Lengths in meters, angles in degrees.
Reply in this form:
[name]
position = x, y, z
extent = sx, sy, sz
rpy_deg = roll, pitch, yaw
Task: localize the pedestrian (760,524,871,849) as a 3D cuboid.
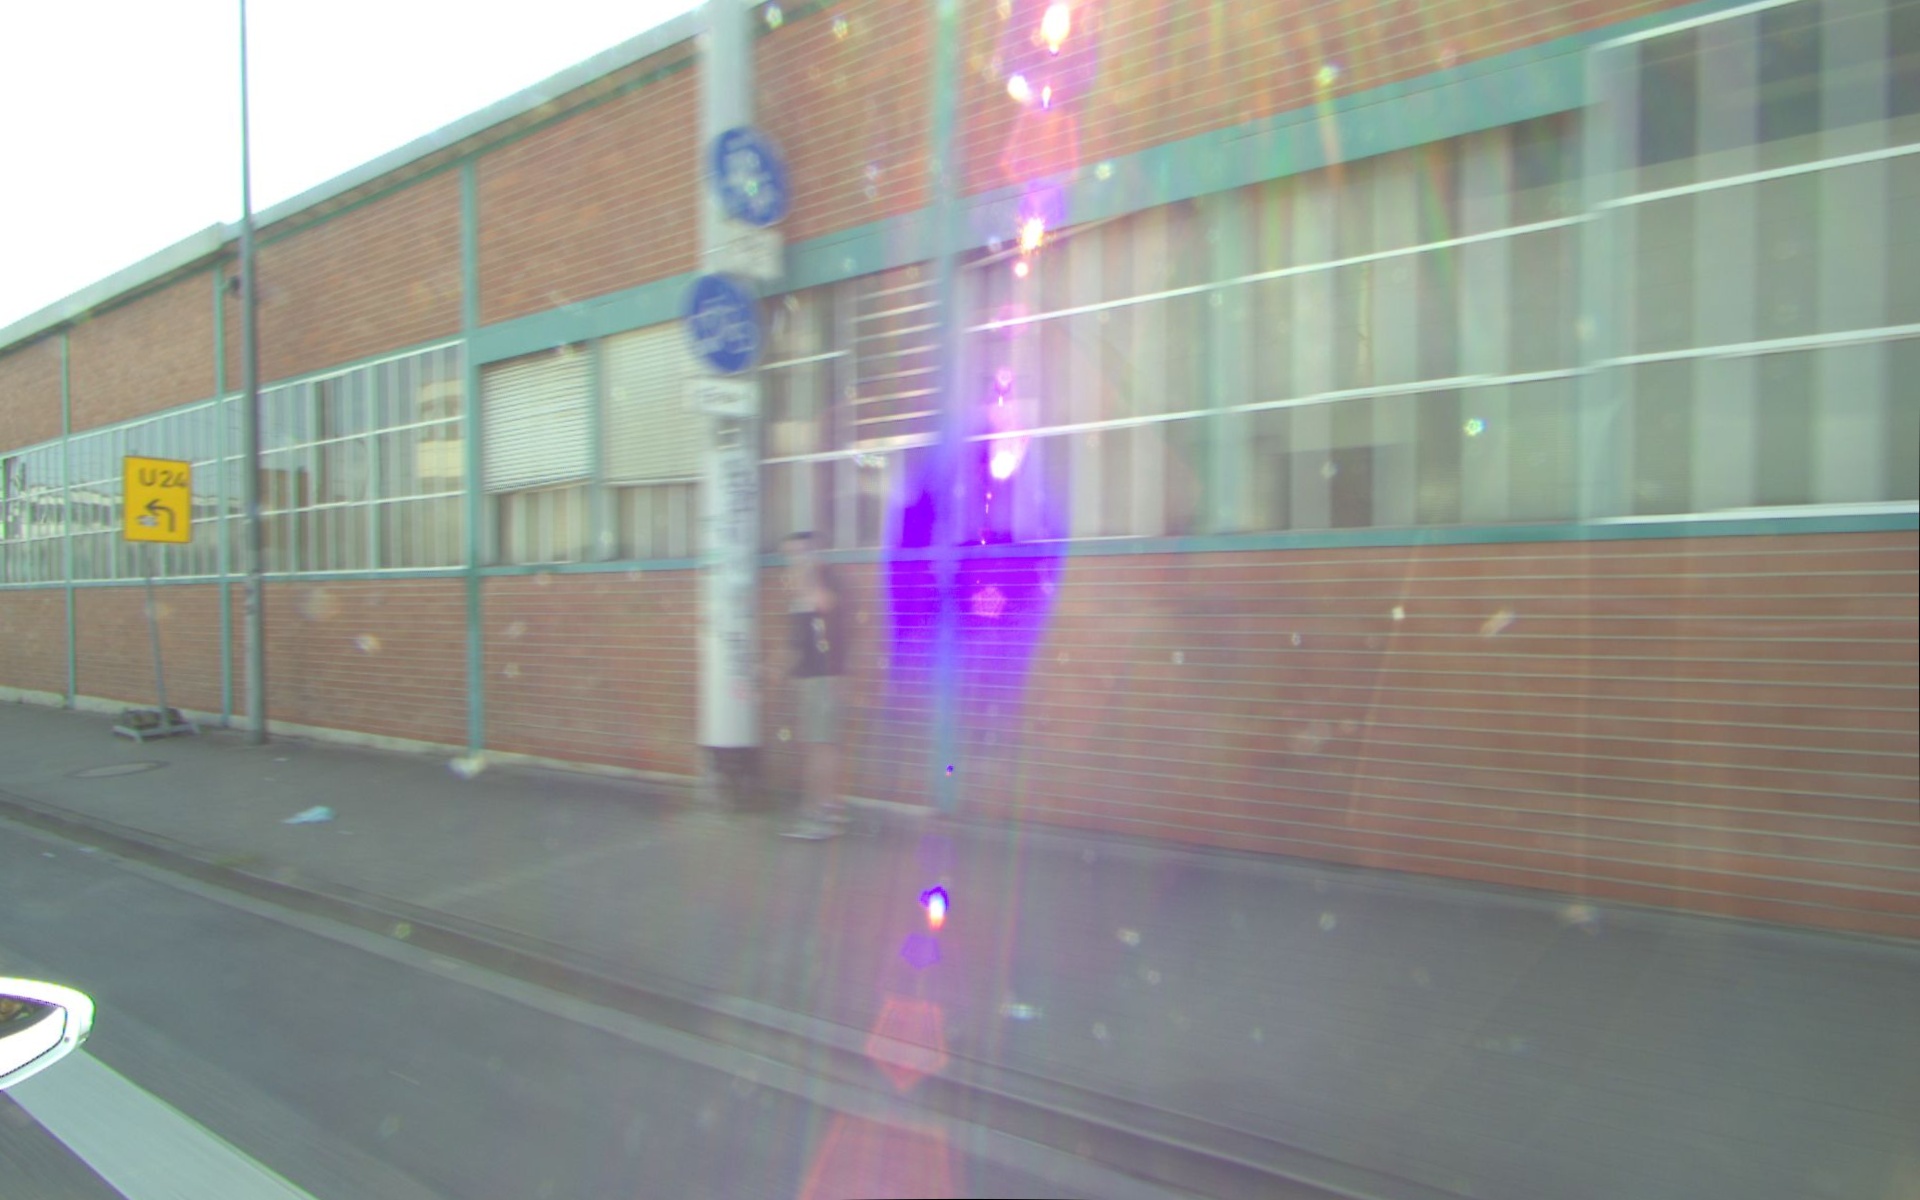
[pedestrian]
position = -0.866, 0.477, 5.902
extent = 0.442, 1.789, 0.683
rpy_deg = 1, 1, -23
